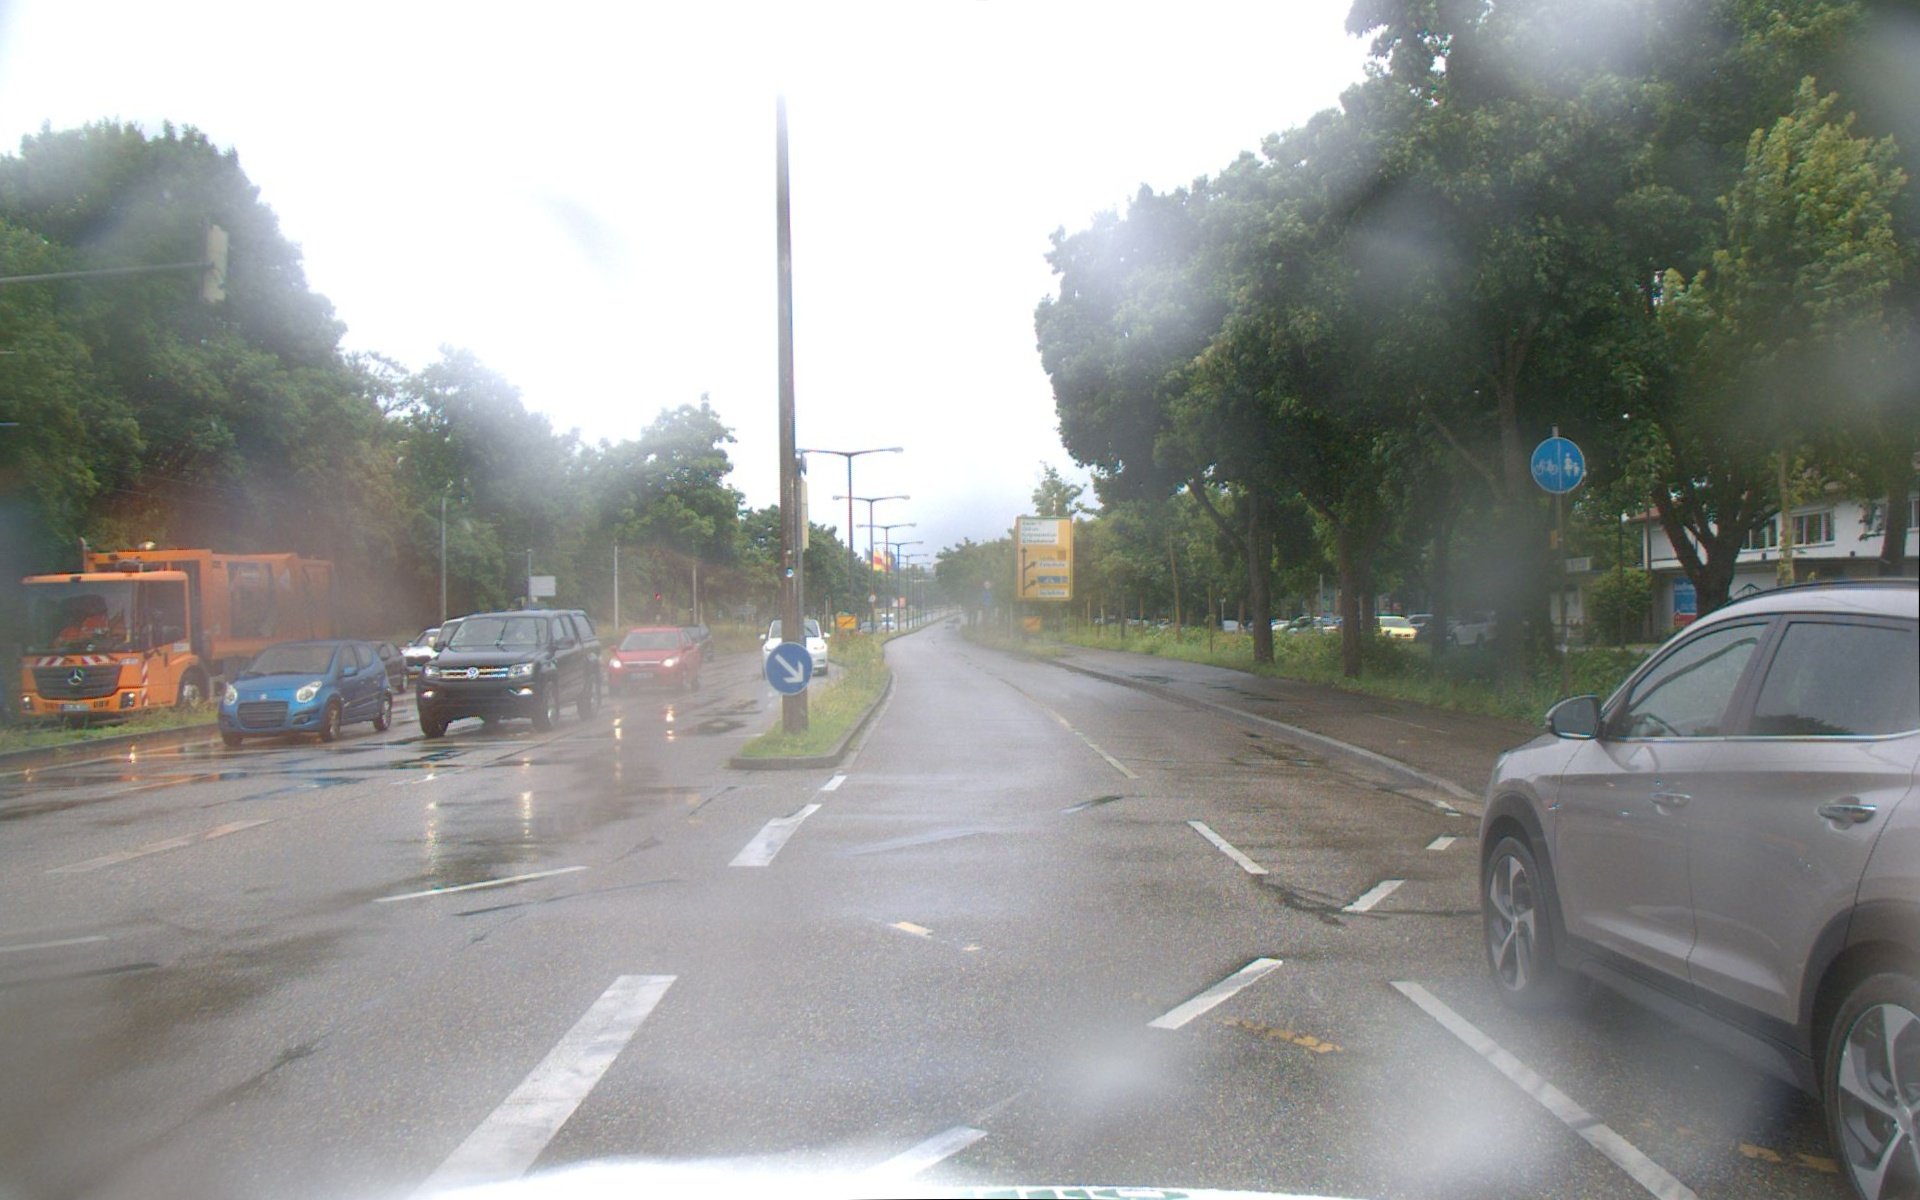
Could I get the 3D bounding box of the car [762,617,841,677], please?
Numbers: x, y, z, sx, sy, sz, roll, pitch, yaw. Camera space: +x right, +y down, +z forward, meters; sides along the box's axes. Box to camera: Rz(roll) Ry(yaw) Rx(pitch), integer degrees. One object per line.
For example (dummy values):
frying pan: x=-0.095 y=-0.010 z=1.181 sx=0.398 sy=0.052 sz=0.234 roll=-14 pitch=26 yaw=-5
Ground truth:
car: x=-4.639 y=1.362 z=49.041 sx=1.921 sy=1.645 sz=4.696 roll=-1 pitch=0 yaw=-1

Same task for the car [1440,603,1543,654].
car: x=19.359 y=1.045 z=60.448 sx=1.954 sy=1.747 sz=4.876 roll=-1 pitch=-1 yaw=-3

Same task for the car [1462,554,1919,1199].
car: x=3.143 y=0.750 z=5.158 sx=1.846 sy=1.639 sz=4.194 roll=1 pitch=-1 yaw=-1

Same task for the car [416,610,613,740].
car: x=-6.944 y=1.108 z=26.332 sx=1.769 sy=1.804 sz=5.088 roll=-2 pitch=-1 yaw=-1

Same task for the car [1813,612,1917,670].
car: x=22.656 y=1.042 z=41.360 sx=1.498 sy=1.376 sz=3.366 roll=0 pitch=-2 yaw=43

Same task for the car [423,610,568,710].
car: x=-10.252 y=1.263 z=36.882 sx=1.890 sy=2.053 sz=4.742 roll=-1 pitch=-1 yaw=0

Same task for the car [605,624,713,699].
car: x=-7.019 y=1.421 z=38.941 sx=1.764 sy=1.597 sz=4.427 roll=-2 pitch=-1 yaw=-1

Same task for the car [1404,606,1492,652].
car: x=19.422 y=1.156 z=66.020 sx=1.954 sy=1.747 sz=4.639 roll=-1 pitch=-1 yaw=-3

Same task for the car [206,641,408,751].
car: x=-9.863 y=1.395 z=25.309 sx=1.608 sy=1.452 sz=3.997 roll=-3 pitch=-1 yaw=-3

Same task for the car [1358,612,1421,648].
car: x=19.119 y=1.347 z=73.769 sx=1.604 sy=1.512 sz=4.070 roll=1 pitch=-1 yaw=-3

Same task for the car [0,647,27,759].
car: x=-16.006 y=1.560 z=24.276 sx=1.952 sy=1.739 sz=4.526 roll=1 pitch=-1 yaw=1

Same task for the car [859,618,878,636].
car: x=-9.009 y=2.624 z=162.757 sx=1.708 sy=1.679 sz=4.134 roll=-3 pitch=-1 yaw=-2

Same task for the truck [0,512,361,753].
truck: x=-16.115 y=0.681 z=34.658 sx=3.316 sy=4.241 sz=10.404 roll=1 pitch=-1 yaw=0

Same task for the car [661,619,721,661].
car: x=-11.542 y=1.691 z=71.241 sx=1.671 sy=1.670 sz=4.331 roll=-2 pitch=-1 yaw=2

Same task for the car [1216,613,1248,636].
car: x=19.337 y=1.732 z=117.714 sx=1.708 sy=1.471 sz=4.123 roll=-1 pitch=1 yaw=2

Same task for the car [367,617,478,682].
car: x=-16.358 y=1.493 z=50.606 sx=1.953 sy=1.860 sz=4.769 roll=1 pitch=-1 yaw=-2
